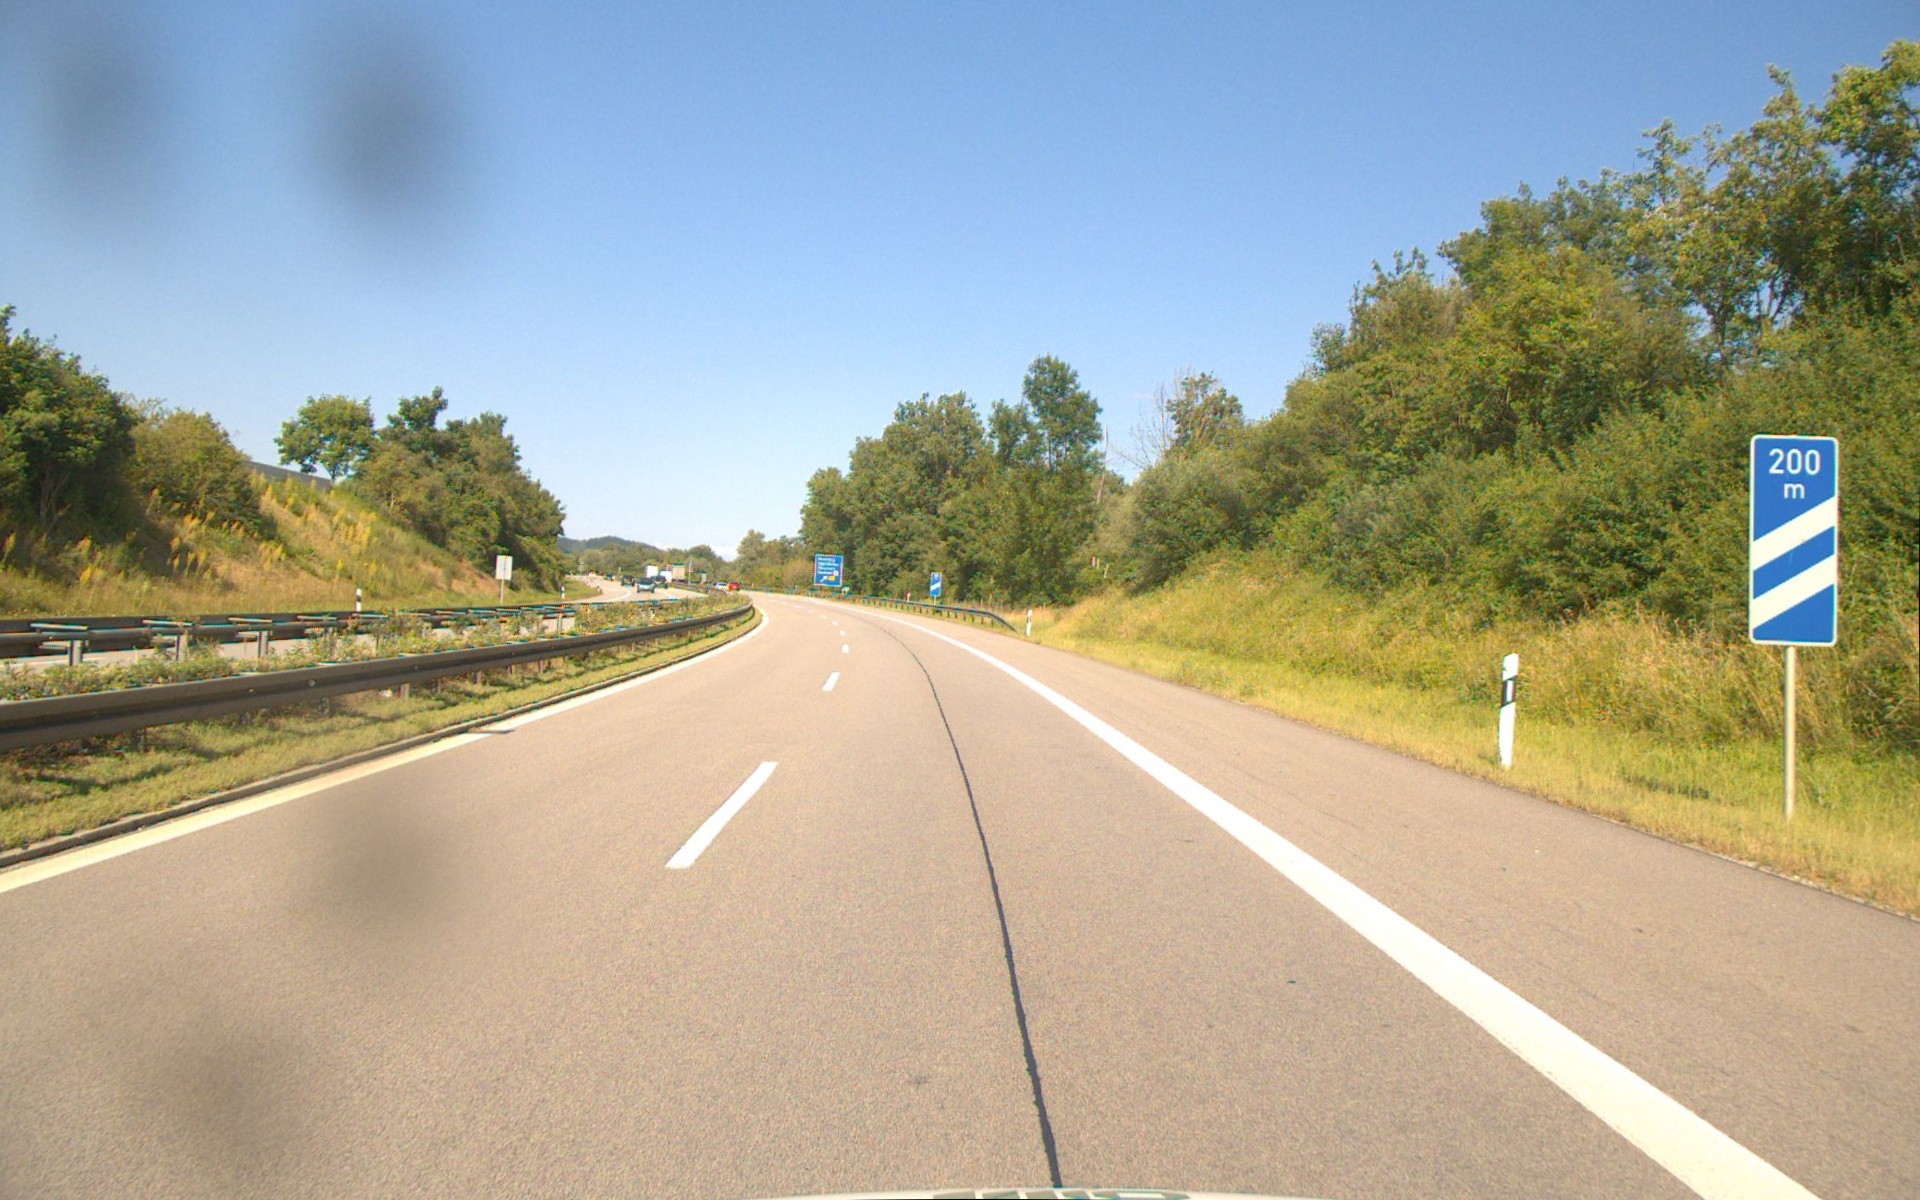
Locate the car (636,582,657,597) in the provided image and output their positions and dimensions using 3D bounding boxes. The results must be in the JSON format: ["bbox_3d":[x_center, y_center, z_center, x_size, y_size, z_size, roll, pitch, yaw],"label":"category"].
[{"bbox_3d":[-32.617,-1.124,172.027,1.785,1.506,4.678,2,0,-7],"label":"car"}]

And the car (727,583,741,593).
[{"bbox_3d":[-35.173,-1.845,257.302,1.753,1.456,3.987,6,-1,-12],"label":"car"}]

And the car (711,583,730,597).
[{"bbox_3d":[-30.681,-1.289,211.874,2.027,1.653,3.984,2,-2,-15],"label":"car"}]

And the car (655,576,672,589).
[{"bbox_3d":[-39.515,-2.348,220.392,2.029,1.708,4.878,0,1,-8],"label":"car"}]
